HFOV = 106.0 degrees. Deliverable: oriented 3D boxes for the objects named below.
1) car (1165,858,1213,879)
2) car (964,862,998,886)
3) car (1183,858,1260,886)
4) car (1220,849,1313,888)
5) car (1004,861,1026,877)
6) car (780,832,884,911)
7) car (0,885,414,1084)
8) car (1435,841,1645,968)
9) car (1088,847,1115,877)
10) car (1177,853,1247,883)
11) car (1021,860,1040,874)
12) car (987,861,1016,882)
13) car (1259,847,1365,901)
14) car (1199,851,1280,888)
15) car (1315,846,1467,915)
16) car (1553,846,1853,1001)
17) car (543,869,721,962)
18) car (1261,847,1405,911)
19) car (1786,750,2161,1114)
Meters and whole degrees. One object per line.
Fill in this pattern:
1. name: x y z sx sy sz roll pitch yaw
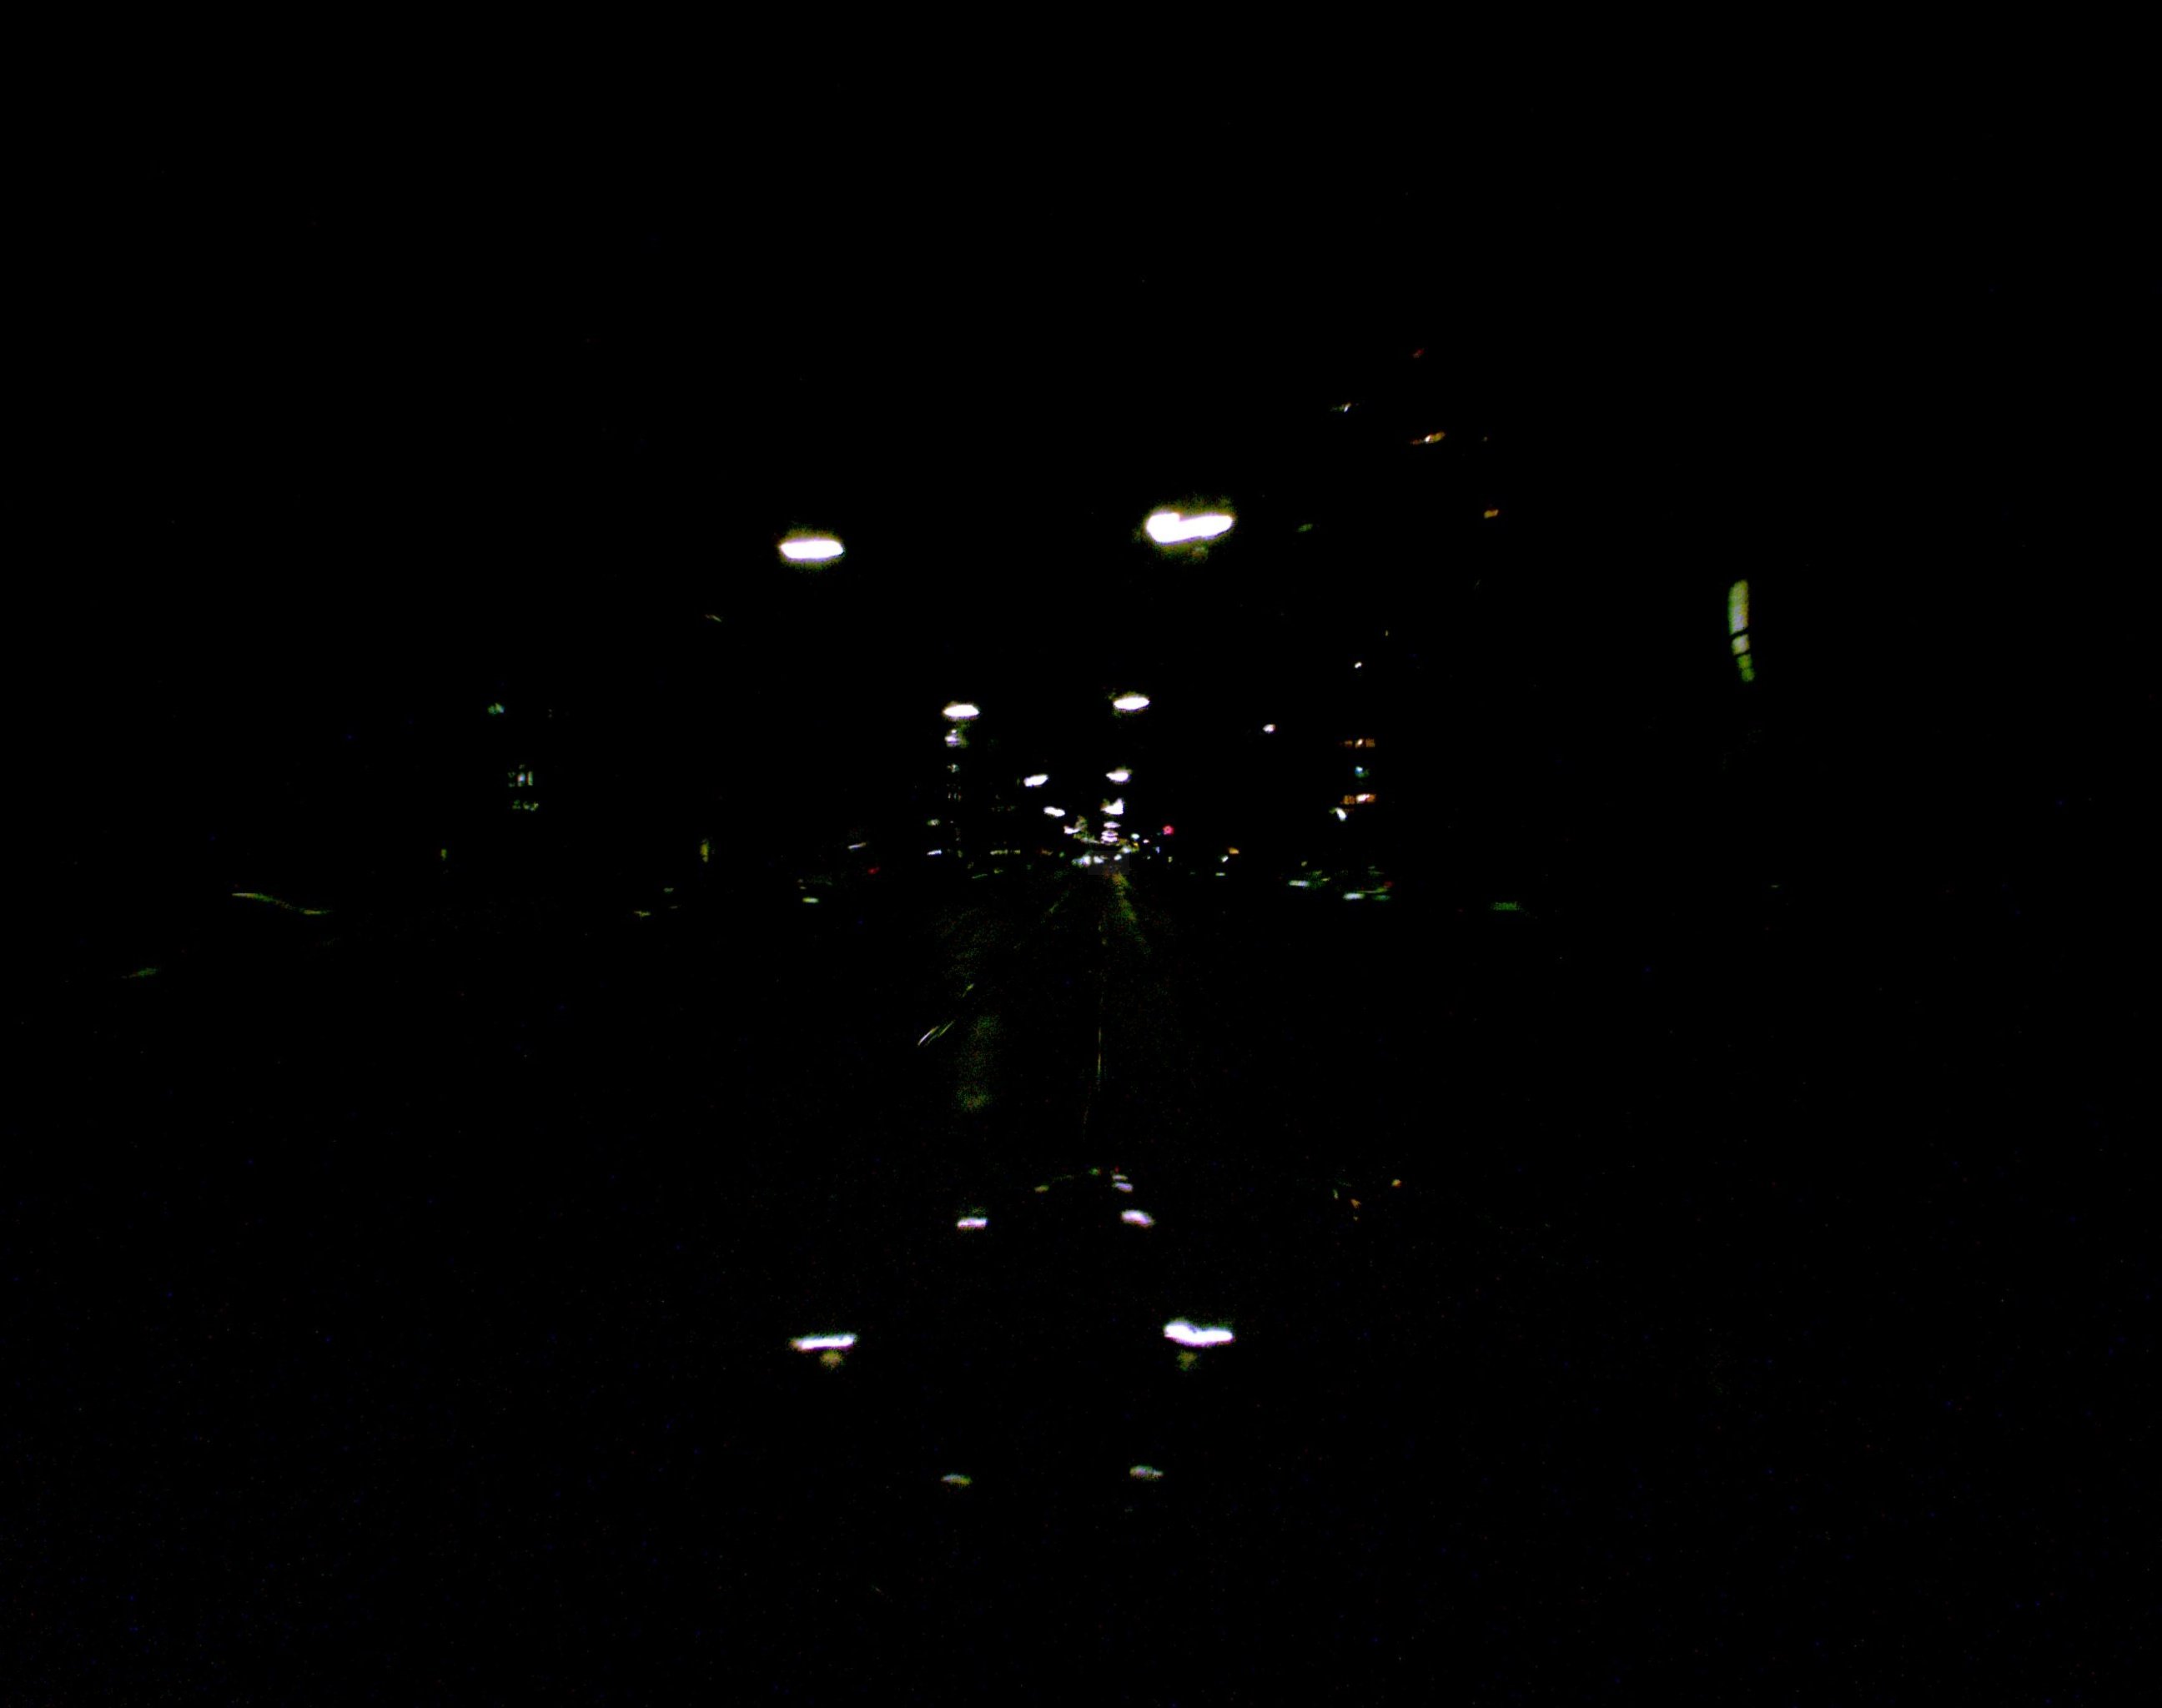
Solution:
1. car: 8.471 1.101 63.866 1.886 1.572 3.987 0 -1 40
2. car: -7.649 1.506 62.759 2.102 1.765 4.962 0 -1 -1
3. car: 7.671 0.938 44.181 4.272 1.454 1.927 0 -1 -43
4. car: 7.326 0.536 32.000 3.848 1.430 1.618 -1 0 -41
5. car: -7.350 1.634 90.561 2.015 1.761 4.000 0 -1 1
6. car: -8.562 0.550 28.594 2.019 2.499 5.605 0 0 -1
7. car: -9.072 1.083 8.175 1.604 1.428 3.807 0 -1 0
8. car: 6.841 0.580 11.884 1.671 1.404 4.485 -1 1 43
9. car: 1.780 0.698 71.623 2.210 2.441 5.383 -1 0 0
10. car: 7.871 0.822 48.849 4.272 1.698 2.005 0 -1 -44
11. car: -6.350 1.630 102.276 2.015 1.761 4.000 0 -1 1
12. car: -6.892 1.516 71.156 1.992 1.785 4.000 0 -1 1
13. car: 7.344 0.584 25.736 1.682 1.533 3.775 1 1 42
14. car: 7.461 0.695 38.165 2.030 1.623 3.851 -1 -1 43
15. car: 7.193 0.551 18.712 3.878 1.433 1.799 0 -1 -44
16. car: 6.865 0.620 8.927 3.350 1.385 1.614 -1 0 -34
17. car: -8.955 1.147 16.616 1.636 1.507 3.618 -1 2 -1
18. car: 6.663 0.589 21.369 3.909 1.533 1.800 -1 0 -40
19. car: 6.752 0.397 5.849 4.195 1.839 1.940 0 0 -40
